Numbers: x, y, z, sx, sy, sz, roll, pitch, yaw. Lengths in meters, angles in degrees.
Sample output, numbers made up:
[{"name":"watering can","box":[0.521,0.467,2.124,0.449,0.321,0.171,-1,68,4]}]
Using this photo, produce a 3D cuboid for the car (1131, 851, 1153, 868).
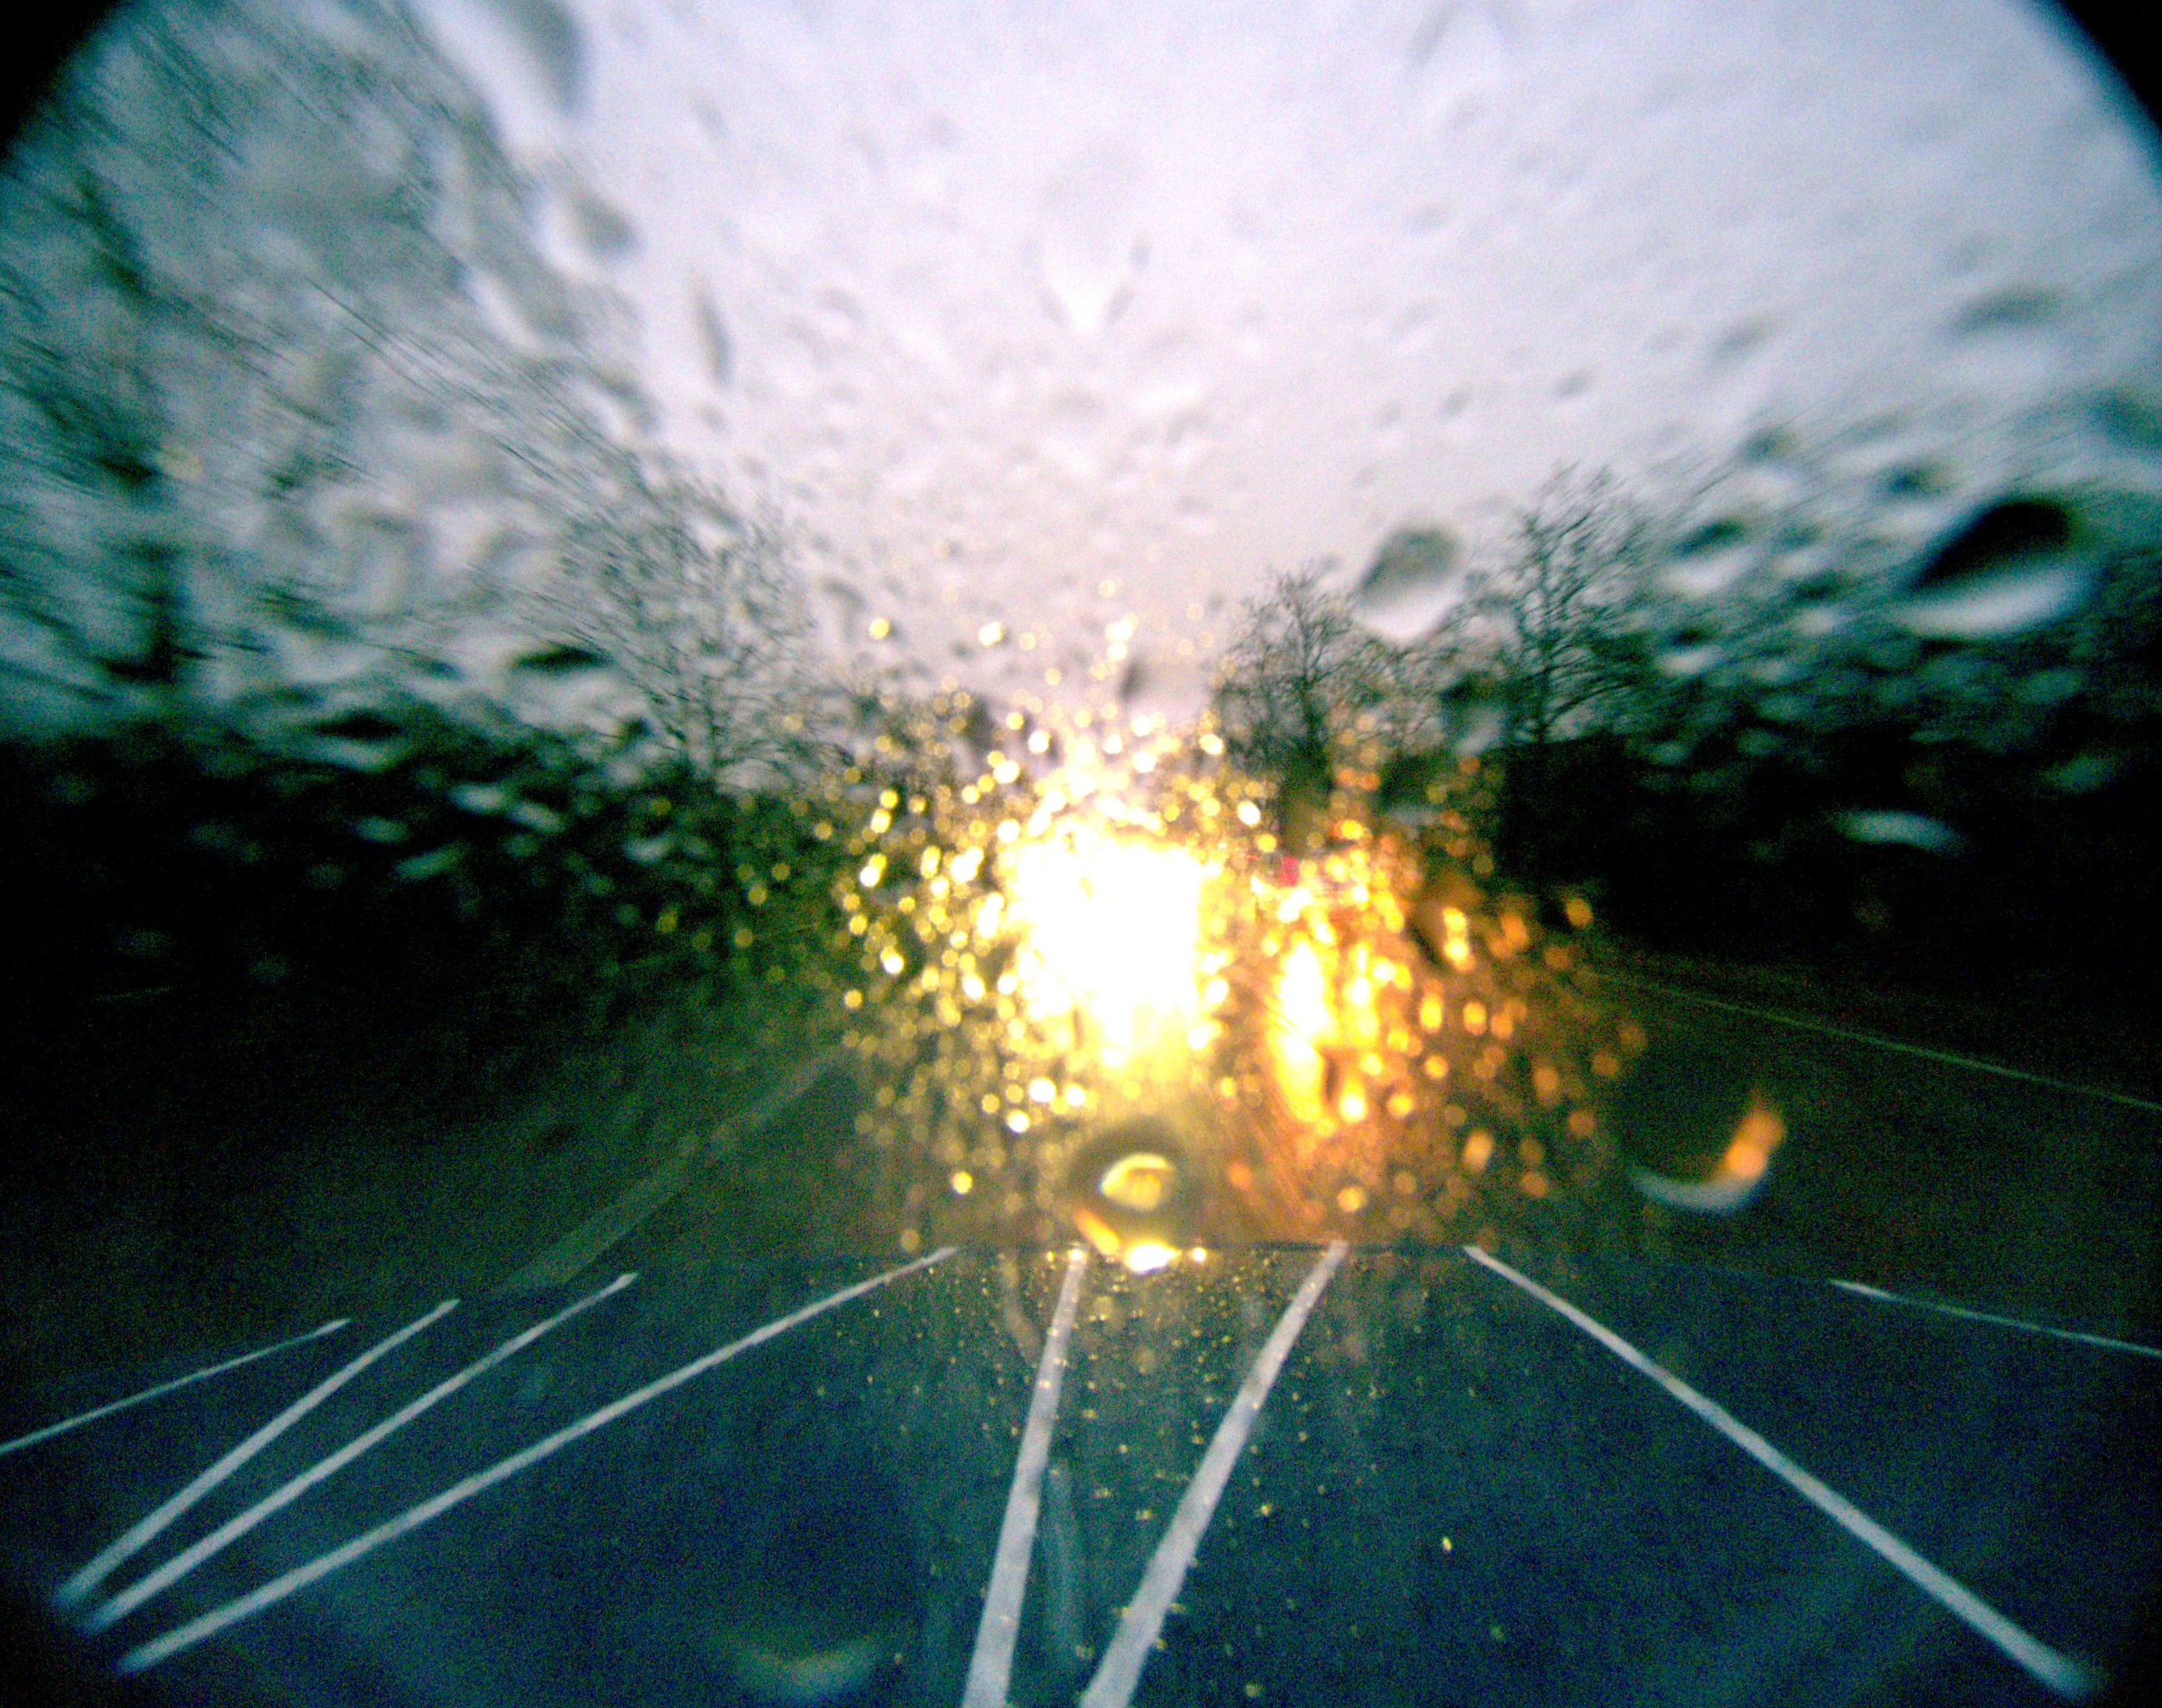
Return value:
[{"name":"car","box":[5.191,0.472,64.961,1.696,1.327,4.000,-2,1,3]}]

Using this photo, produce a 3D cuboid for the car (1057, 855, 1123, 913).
[{"name":"car","box":[0.367,0.841,23.254,1.830,1.524,4.000,-1,1,3]}]

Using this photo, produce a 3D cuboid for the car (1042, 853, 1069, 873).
[{"name":"car","box":[-1.899,0.650,58.378,1.728,1.426,3.791,-1,1,3]}]

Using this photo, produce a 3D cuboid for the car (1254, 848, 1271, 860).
[{"name":"car","box":[25.007,-0.040,104.689,1.621,1.672,3.981,-1,0,3]}]

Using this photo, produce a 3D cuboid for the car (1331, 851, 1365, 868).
[{"name":"car","box":[23.079,0.447,65.787,1.752,1.417,3.978,-1,1,3]}]

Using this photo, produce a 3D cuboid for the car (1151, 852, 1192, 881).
[{"name":"car","box":[5.249,0.692,44.345,2.026,1.522,4.145,-1,1,2]}]

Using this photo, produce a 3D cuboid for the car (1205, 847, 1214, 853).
[{"name":"car","box":[30.117,-0.971,177.979,1.540,1.320,3.956,-1,1,3]}]

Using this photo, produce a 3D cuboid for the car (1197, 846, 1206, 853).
[{"name":"car","box":[27.764,-0.988,175.279,1.573,1.495,4.000,-2,1,3]}]

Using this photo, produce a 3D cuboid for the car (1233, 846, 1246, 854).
[{"name":"car","box":[27.783,-0.671,132.912,1.653,1.346,3.956,-1,1,3]}]

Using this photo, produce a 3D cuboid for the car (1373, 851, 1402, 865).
[{"name":"car","box":[31.595,0.376,78.467,1.582,1.294,4.105,-1,1,5]}]

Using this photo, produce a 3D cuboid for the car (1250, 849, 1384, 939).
[{"name":"car","box":[4.725,0.714,15.808,1.765,1.590,4.166,-1,1,4]}]

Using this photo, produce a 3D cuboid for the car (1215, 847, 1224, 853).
[{"name":"car","box":[34.725,-0.988,190.539,1.540,1.304,4.000,-1,1,3]}]

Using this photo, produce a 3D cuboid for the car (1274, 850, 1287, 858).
[{"name":"car","box":[34.816,-0.020,132.881,1.752,1.387,4.302,-1,1,9]}]

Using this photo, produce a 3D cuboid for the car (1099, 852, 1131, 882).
[{"name":"car","box":[1.993,0.725,43.615,1.727,1.573,3.791,-1,1,4]}]

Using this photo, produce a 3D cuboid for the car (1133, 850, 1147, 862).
[{"name":"car","box":[8.146,0.262,105.242,1.852,1.610,3.951,-2,1,3]}]

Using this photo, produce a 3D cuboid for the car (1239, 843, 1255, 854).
[{"name":"car","box":[25.826,-0.872,118.164,1.787,1.524,4.378,-1,1,3]}]
